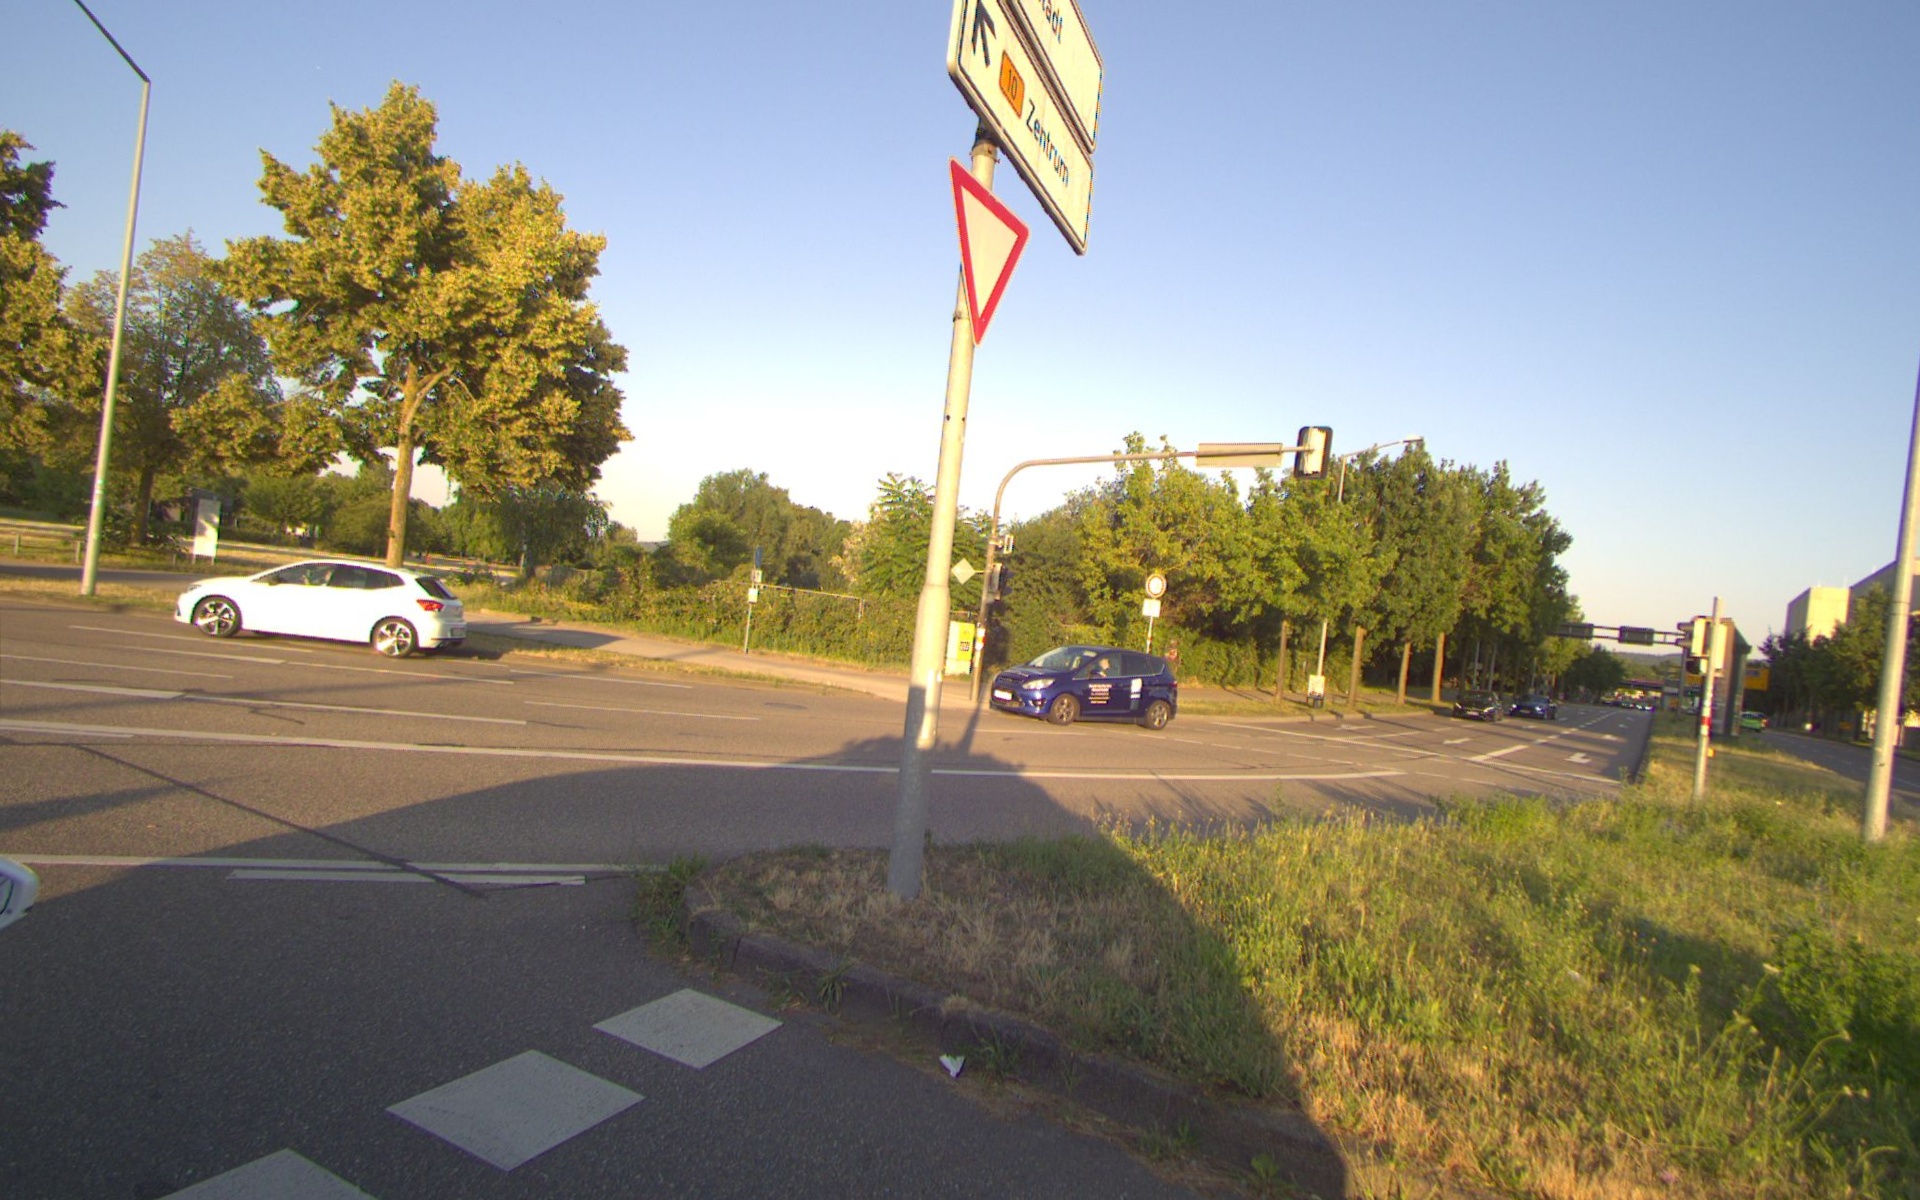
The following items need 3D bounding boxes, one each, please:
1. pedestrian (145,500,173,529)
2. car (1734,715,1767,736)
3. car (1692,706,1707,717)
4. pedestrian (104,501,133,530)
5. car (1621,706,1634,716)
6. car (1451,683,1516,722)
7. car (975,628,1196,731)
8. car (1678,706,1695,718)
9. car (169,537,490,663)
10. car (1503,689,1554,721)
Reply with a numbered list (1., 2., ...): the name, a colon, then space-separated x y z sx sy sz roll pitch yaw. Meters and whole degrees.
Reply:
1. pedestrian: -52.030 -5.549 65.366 0.896 1.637 1.070 7 0 34
2. car: 64.903 10.284 82.635 1.662 1.437 3.991 7 -1 33
3. car: 139.367 20.992 189.654 1.968 1.648 3.990 7 -1 34
4. pedestrian: -53.393 -5.379 63.839 0.896 1.637 1.070 7 0 34
5. car: 141.846 23.586 213.870 1.967 1.801 3.994 6 -2 32
6. car: 25.580 5.009 49.097 1.970 1.523 4.605 7 -1 37
7. car: 2.588 1.633 20.389 4.144 1.602 1.897 8 -1 -36
8. car: 122.544 18.945 169.802 1.968 1.648 3.991 7 -1 33
9. car: -10.121 0.026 16.482 3.907 1.471 1.864 7 -1 -12
10. car: 33.138 6.131 58.566 1.969 1.523 4.758 7 -1 35
